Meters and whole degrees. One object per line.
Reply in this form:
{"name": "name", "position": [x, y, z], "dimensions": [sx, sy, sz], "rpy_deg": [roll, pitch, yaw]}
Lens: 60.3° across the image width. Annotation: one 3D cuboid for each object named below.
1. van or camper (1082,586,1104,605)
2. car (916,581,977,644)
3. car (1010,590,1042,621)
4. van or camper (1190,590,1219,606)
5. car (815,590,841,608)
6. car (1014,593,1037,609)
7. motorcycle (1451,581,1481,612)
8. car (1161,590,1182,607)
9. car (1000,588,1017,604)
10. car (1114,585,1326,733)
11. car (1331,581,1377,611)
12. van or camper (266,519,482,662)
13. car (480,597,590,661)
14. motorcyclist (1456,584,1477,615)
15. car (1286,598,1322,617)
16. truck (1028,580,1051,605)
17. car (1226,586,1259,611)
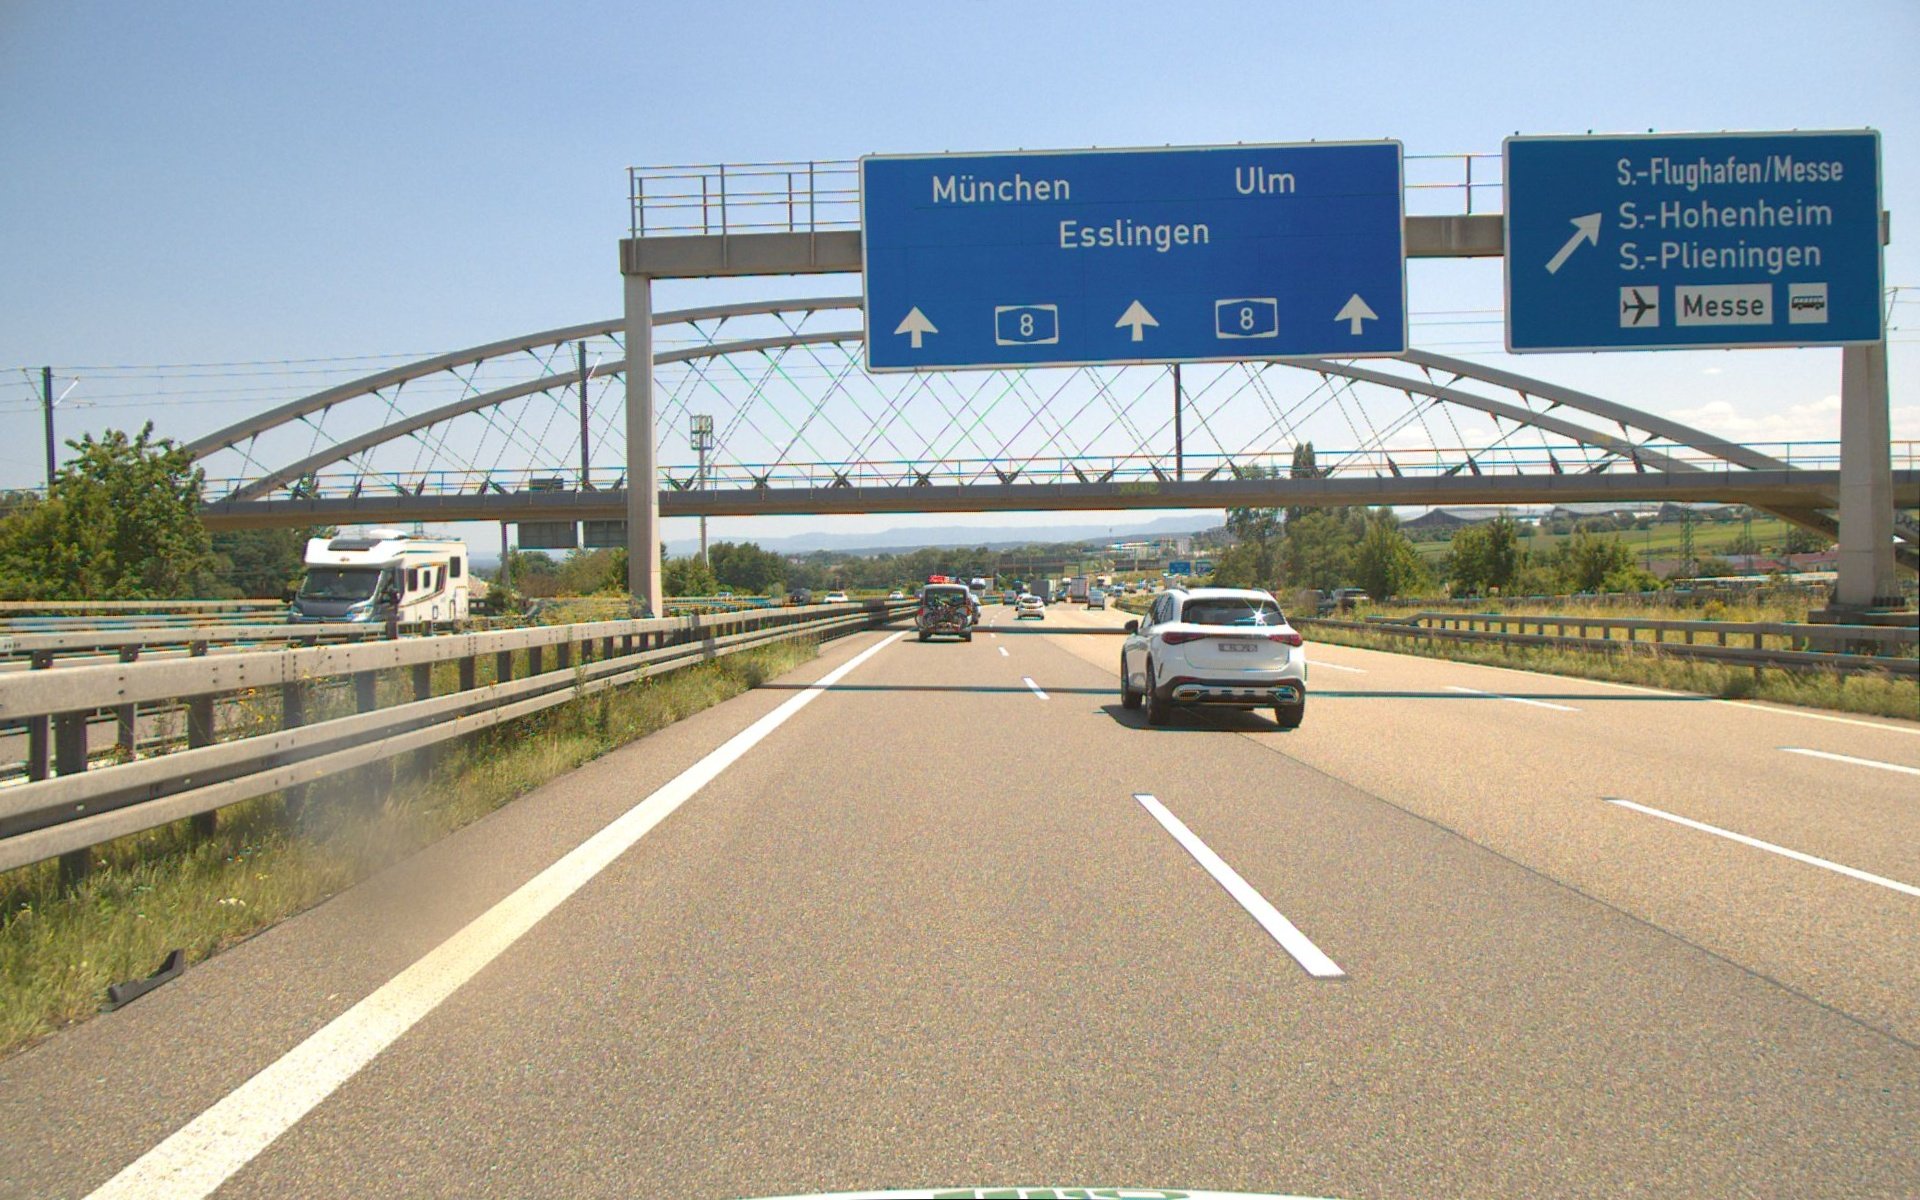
{"name": "van or camper", "position": [14.442, -0.493, 179.832], "dimensions": [2.111, 2.049, 4.305], "rpy_deg": [1, 0, 2]}
{"name": "car", "position": [-0.471, 0.403, 54.306], "dimensions": [1.887, 1.952, 4.947], "rpy_deg": [1, 0, -1]}
{"name": "car", "position": [4.228, 0.329, 106.487], "dimensions": [1.887, 1.952, 4.518], "rpy_deg": [1, 0, 1]}
{"name": "van or camper", "position": [32.695, -0.245, 221.409], "dimensions": [2.484, 2.049, 4.448], "rpy_deg": [1, 0, -12]}
{"name": "car", "position": [-12.042, -0.102, 150.740], "dimensions": [1.888, 1.668, 4.977], "rpy_deg": [0, 0, 1]}
{"name": "car", "position": [6.109, 0.090, 155.075], "dimensions": [1.941, 1.499, 4.000], "rpy_deg": [0, 0, 0]}
{"name": "motorcycle", "position": [22.677, -0.150, 74.181], "dimensions": [0.744, 1.390, 1.869], "rpy_deg": [1, 0, -1]}
{"name": "car", "position": [26.663, -0.172, 208.584], "dimensions": [1.953, 2.049, 3.999], "rpy_deg": [1, 0, -1]}
{"name": "car", "position": [6.234, -0.467, 214.678], "dimensions": [2.141, 2.038, 4.000], "rpy_deg": [1, 0, 1]}
{"name": "car", "position": [3.206, 0.678, 21.397], "dimensions": [1.860, 1.676, 4.997], "rpy_deg": [1, 0, -1]}
{"name": "car", "position": [22.454, -0.220, 94.334], "dimensions": [1.664, 1.602, 4.128], "rpy_deg": [1, 0, 1]}
{"name": "van or camper", "position": [-14.107, -0.233, 40.560], "dimensions": [2.394, 3.141, 8.121], "rpy_deg": [0, 0, 0]}
{"name": "car", "position": [-10.126, 0.663, 39.642], "dimensions": [1.565, 1.440, 4.264], "rpy_deg": [0, 0, -1]}
{"name": "motorcyclist", "position": [22.704, -0.027, 74.111], "dimensions": [0.655, 1.390, 0.878], "rpy_deg": [1, 0, 0]}
{"name": "car", "position": [25.172, 0.533, 121.096], "dimensions": [1.665, 1.299, 3.999], "rpy_deg": [1, 0, -1]}
{"name": "truck", "position": [10.597, -0.969, 219.039], "dimensions": [2.645, 3.163, 10.665], "rpy_deg": [1, 0, 5]}
{"name": "car", "position": [23.233, -0.113, 136.320], "dimensions": [1.899, 1.957, 4.178], "rpy_deg": [1, 0, -1]}
